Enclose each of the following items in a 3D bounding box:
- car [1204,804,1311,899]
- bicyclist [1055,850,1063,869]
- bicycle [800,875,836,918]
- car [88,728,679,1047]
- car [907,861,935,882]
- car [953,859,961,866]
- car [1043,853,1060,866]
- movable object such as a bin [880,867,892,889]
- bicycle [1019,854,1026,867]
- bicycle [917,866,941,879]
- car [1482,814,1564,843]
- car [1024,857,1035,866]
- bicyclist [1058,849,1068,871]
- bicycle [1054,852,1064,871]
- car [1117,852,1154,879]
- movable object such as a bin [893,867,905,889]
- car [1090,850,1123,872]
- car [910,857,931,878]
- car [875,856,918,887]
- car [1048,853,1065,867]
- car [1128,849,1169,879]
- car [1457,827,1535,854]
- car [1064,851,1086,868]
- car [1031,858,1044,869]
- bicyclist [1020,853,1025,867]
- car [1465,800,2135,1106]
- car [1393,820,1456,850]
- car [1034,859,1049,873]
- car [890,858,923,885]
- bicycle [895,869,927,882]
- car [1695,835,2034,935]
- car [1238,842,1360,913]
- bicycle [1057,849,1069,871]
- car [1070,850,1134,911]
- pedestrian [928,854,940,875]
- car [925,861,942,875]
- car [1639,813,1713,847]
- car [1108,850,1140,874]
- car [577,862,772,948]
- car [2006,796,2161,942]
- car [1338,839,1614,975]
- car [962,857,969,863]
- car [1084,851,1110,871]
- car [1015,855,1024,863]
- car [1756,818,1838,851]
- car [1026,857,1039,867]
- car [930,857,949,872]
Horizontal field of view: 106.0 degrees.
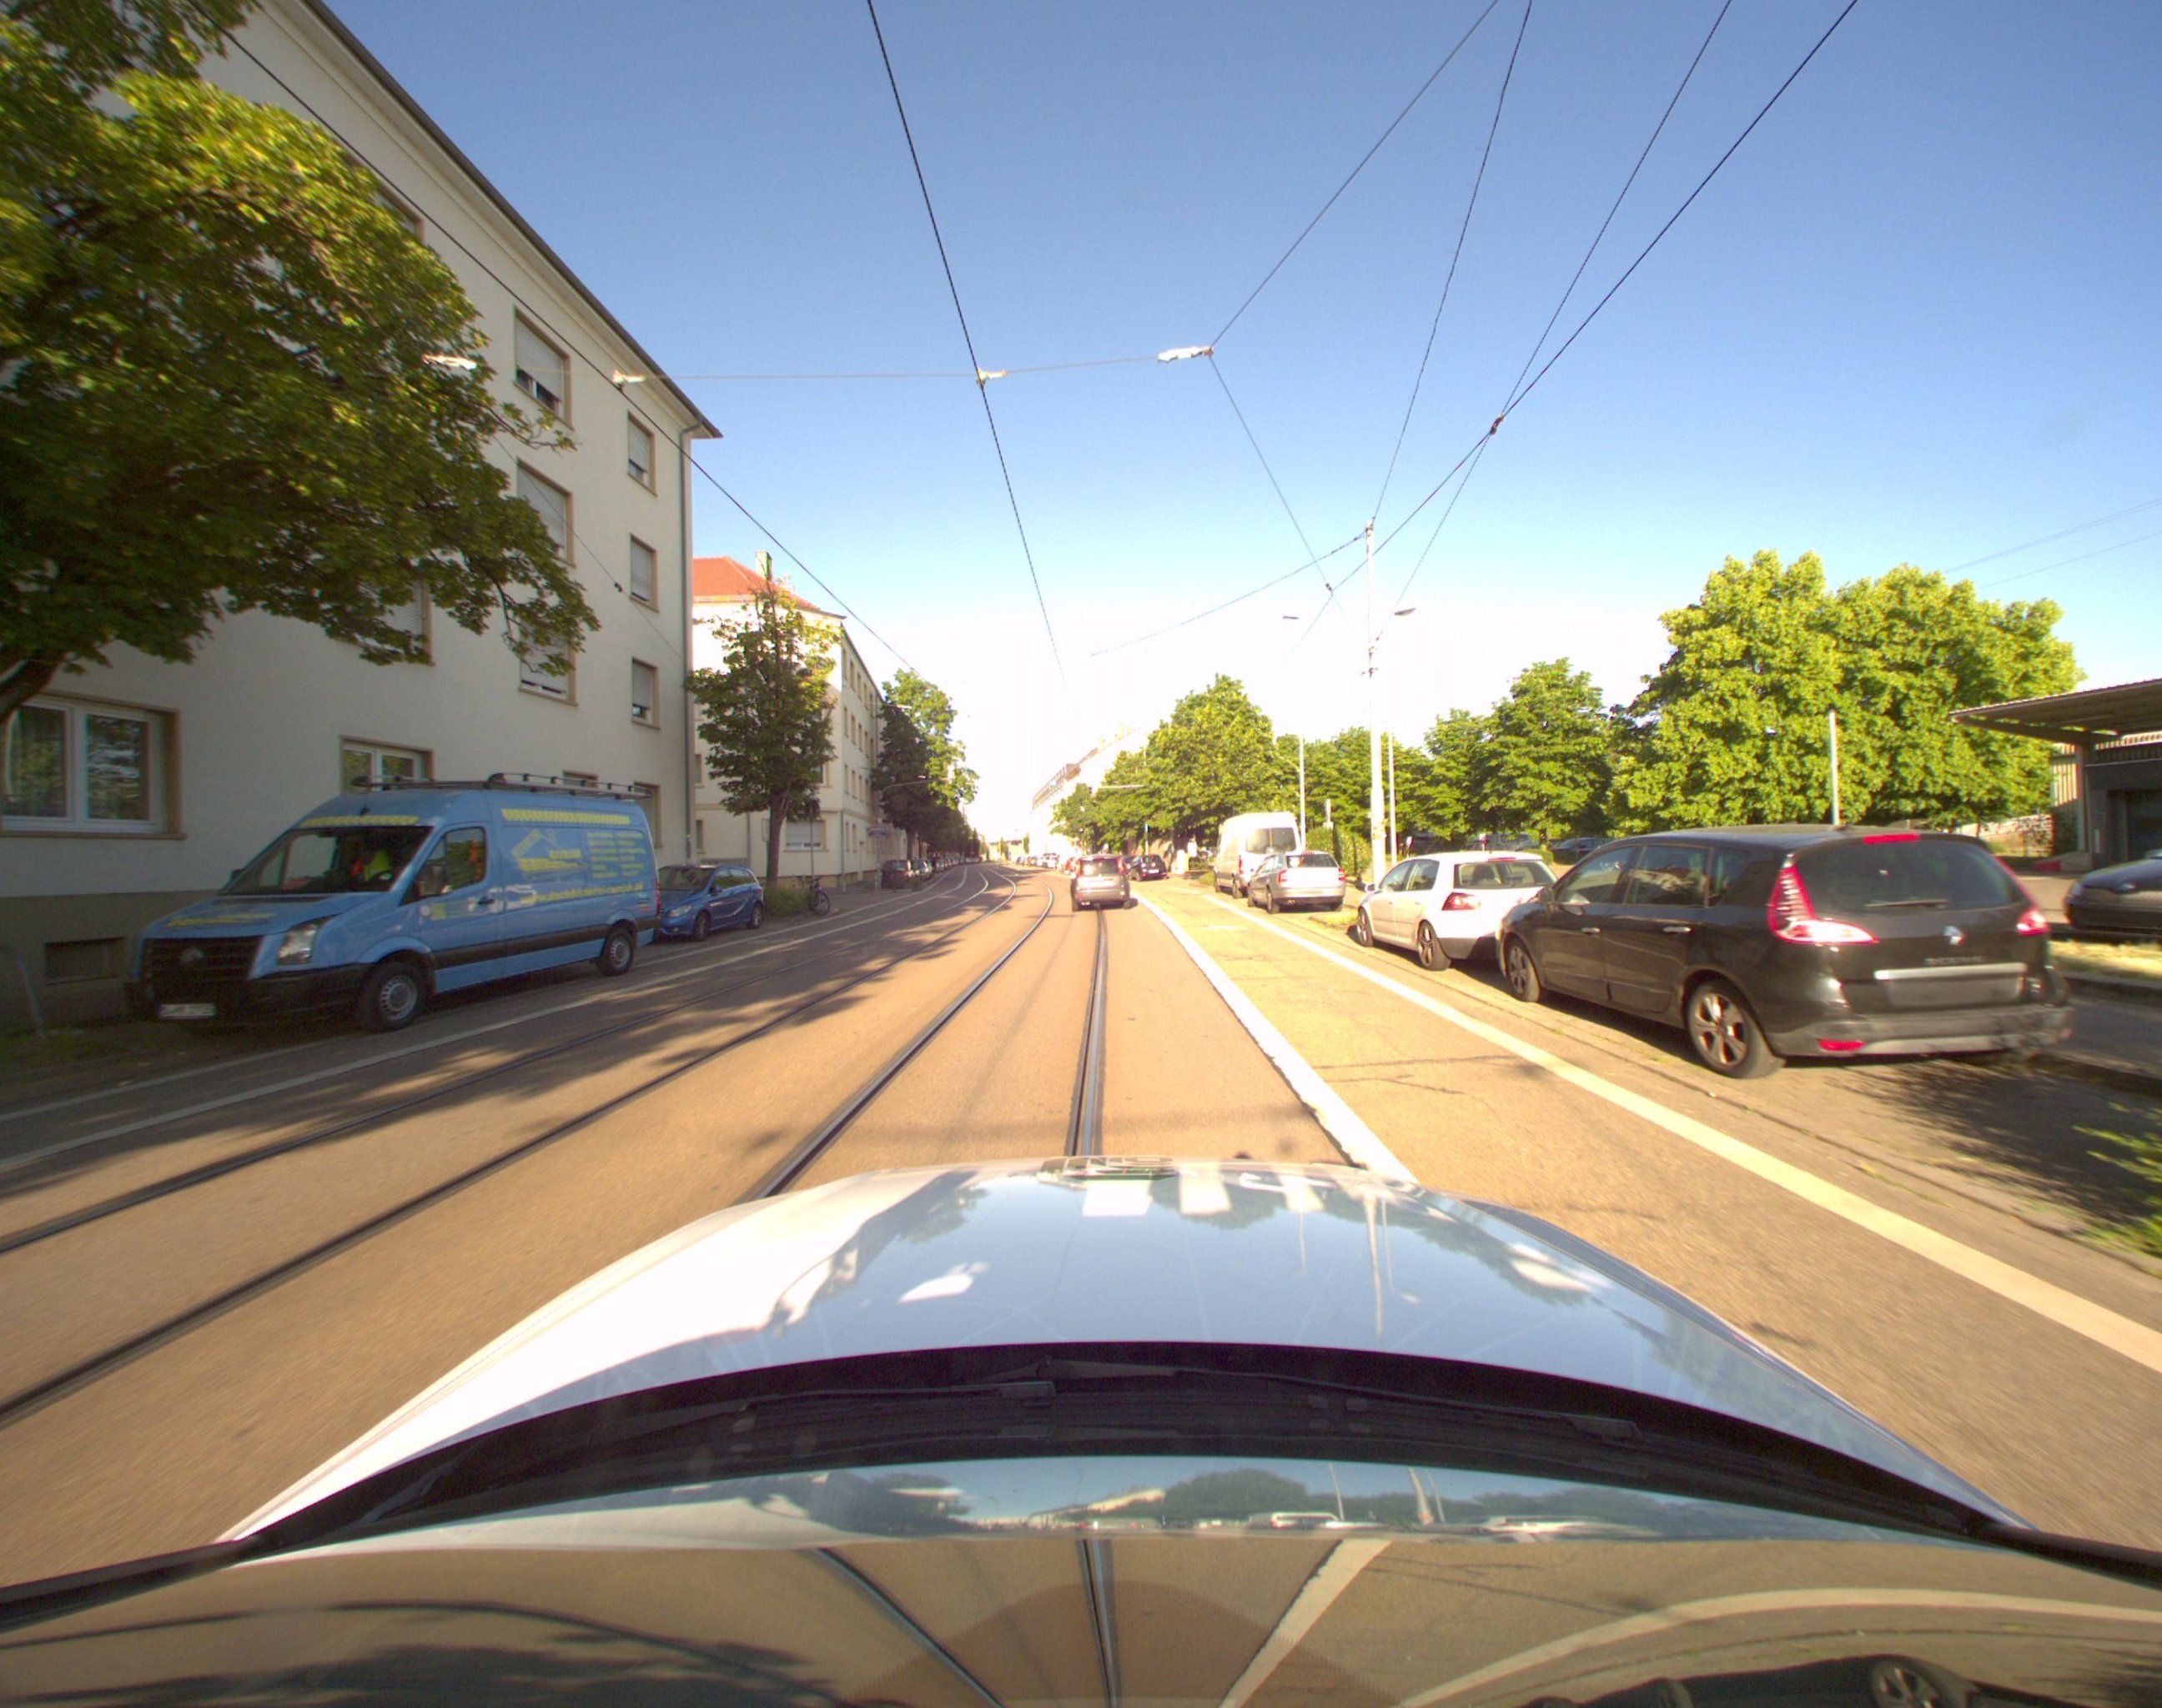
[{"bbox_3d":[5.732,-0.067,27.320,2.173,2.665,6.091,-4,0,1],"label":"car"},{"bbox_3d":[-2.111,0.522,77.180,0.699,1.759,0.755,-1,0,-9],"label":"bicyclist"},{"bbox_3d":[-7.404,1.173,23.004,0.511,1.134,2.027,-1,0,-5],"label":"bicycle"},{"bbox_3d":[-7.722,0.307,10.275,2.009,2.826,6.037,-1,0,3],"label":"car"},{"bbox_3d":[-11.846,1.277,60.525,1.687,1.475,4.649,-1,0,-7],"label":"car"},{"bbox_3d":[-27.975,1.859,183.793,1.705,1.496,3.712,-1,0,-7],"label":"car"},{"bbox_3d":[-3.627,0.723,100.727,1.655,1.571,3.864,-1,0,-8],"label":"car"},{"bbox_3d":[-9.337,1.147,38.987,0.484,0.987,0.658,-1,0,-6],"label":"movable object such as a bin"},{"bbox_3d":[-8.778,0.956,122.069,0.741,2.013,2.803,-1,0,-9],"label":"bicycle"},{"bbox_3d":[-13.006,1.601,69.646,1.923,1.046,0.475,-1,0,-7],"label":"bicycle"},{"bbox_3d":[29.981,-1.718,55.296,4.678,1.816,1.957,-1,0,-7],"label":"car"},{"bbox_3d":[-8.806,1.279,138.232,1.582,1.405,3.366,-1,0,-9],"label":"car"},{"bbox_3d":[-1.520,0.496,68.002,0.699,1.759,0.755,-1,0,-9],"label":"bicyclist"},{"bbox_3d":[-2.104,0.705,77.157,0.675,1.747,2.151,-1,0,-9],"label":"bicycle"},{"bbox_3d":[3.389,0.709,51.416,1.686,1.530,4.348,-3,0,-5],"label":"car"},{"bbox_3d":[-8.738,1.145,39.075,0.484,0.987,0.658,-1,0,-6],"label":"movable object such as a bin"},{"bbox_3d":[1.978,0.538,63.475,1.689,1.530,3.985,-3,0,-10],"label":"car"},{"bbox_3d":[-13.049,1.081,66.018,1.653,1.668,4.278,-1,0,-12],"label":"car"},{"bbox_3d":[-9.869,0.904,43.870,1.685,1.530,3.994,-1,0,-4],"label":"car"},{"bbox_3d":[-2.944,0.703,96.333,1.655,1.571,3.489,-1,0,-9],"label":"car"},{"bbox_3d":[3.819,0.549,46.774,1.686,1.530,3.993,-3,0,-5],"label":"car"},{"bbox_3d":[29.748,-0.948,58.392,4.678,1.816,1.957,-1,0,-7],"label":"car"},{"bbox_3d":[-0.629,0.549,78.189,1.634,1.508,3.388,-4,0,-8],"label":"car"},{"bbox_3d":[-6.269,1.333,117.608,1.655,1.500,3.120,-1,0,-9],"label":"car"},{"bbox_3d":[-8.798,0.937,122.078,0.715,2.014,0.829,-1,0,-9],"label":"bicyclist"},{"bbox_3d":[5.041,0.562,6.733,1.721,1.604,4.344,-4,0,2],"label":"car"},{"bbox_3d":[28.024,-1.549,66.510,4.188,2.241,2.136,-2,0,-11],"label":"car"},{"bbox_3d":[-5.466,1.608,111.712,1.655,1.944,4.651,-1,0,-8],"label":"car"},{"bbox_3d":[-10.282,0.993,48.229,1.787,1.530,3.844,-1,0,-11],"label":"car"},{"bbox_3d":[-11.804,1.505,56.665,2.127,0.824,0.475,-1,0,-9],"label":"bicycle"},{"bbox_3d":[9.410,0.328,10.108,1.304,1.033,3.057,-1,0,1],"label":"car"},{"bbox_3d":[5.370,0.536,20.677,1.903,1.529,4.601,-2,0,1],"label":"car"},{"bbox_3d":[-1.494,0.497,67.904,0.675,1.747,2.151,-1,0,-9],"label":"bicycle"},{"bbox_3d":[0.621,0.697,23.574,1.644,1.541,4.236,-2,0,2],"label":"car"},{"bbox_3d":[-13.121,0.936,72.721,0.854,1.776,0.728,-3,1,-28],"label":"pedestrian"},{"bbox_3d":[-16.852,1.548,93.187,1.807,1.508,4.667,-1,0,-8],"label":"car"},{"bbox_3d":[43.804,-1.724,59.970,4.188,2.301,2.063,-2,0,-11],"label":"car"},{"bbox_3d":[2.947,0.518,56.517,1.686,1.530,3.993,-3,0,-5],"label":"car"},{"bbox_3d":[-8.575,0.987,17.718,1.784,1.561,4.644,-1,0,2],"label":"car"},{"bbox_3d":[12.272,0.124,8.295,3.690,1.400,1.759,-1,0,0],"label":"car"},{"bbox_3d":[5.117,0.600,11.287,1.723,1.512,4.250,-1,0,-1],"label":"car"},{"bbox_3d":[-28.293,1.477,199.685,1.705,1.496,3.712,-1,0,-7],"label":"car"},{"bbox_3d":[1.318,0.558,68.855,1.686,1.530,3.993,-3,0,-5],"label":"car"},{"bbox_3d":[-12.335,1.055,162.913,1.582,1.599,3.366,-1,0,-9],"label":"car"},{"bbox_3d":[45.462,-1.218,51.729,4.128,1.921,1.738,-2,0,-11],"label":"car"},{"bbox_3d":[-7.552,1.198,126.183,1.583,1.405,3.366,-5,0,-9],"label":"car"},{"bbox_3d":[-14.505,1.062,83.620,1.807,1.508,4.179,-1,0,-8],"label":"car"}]
